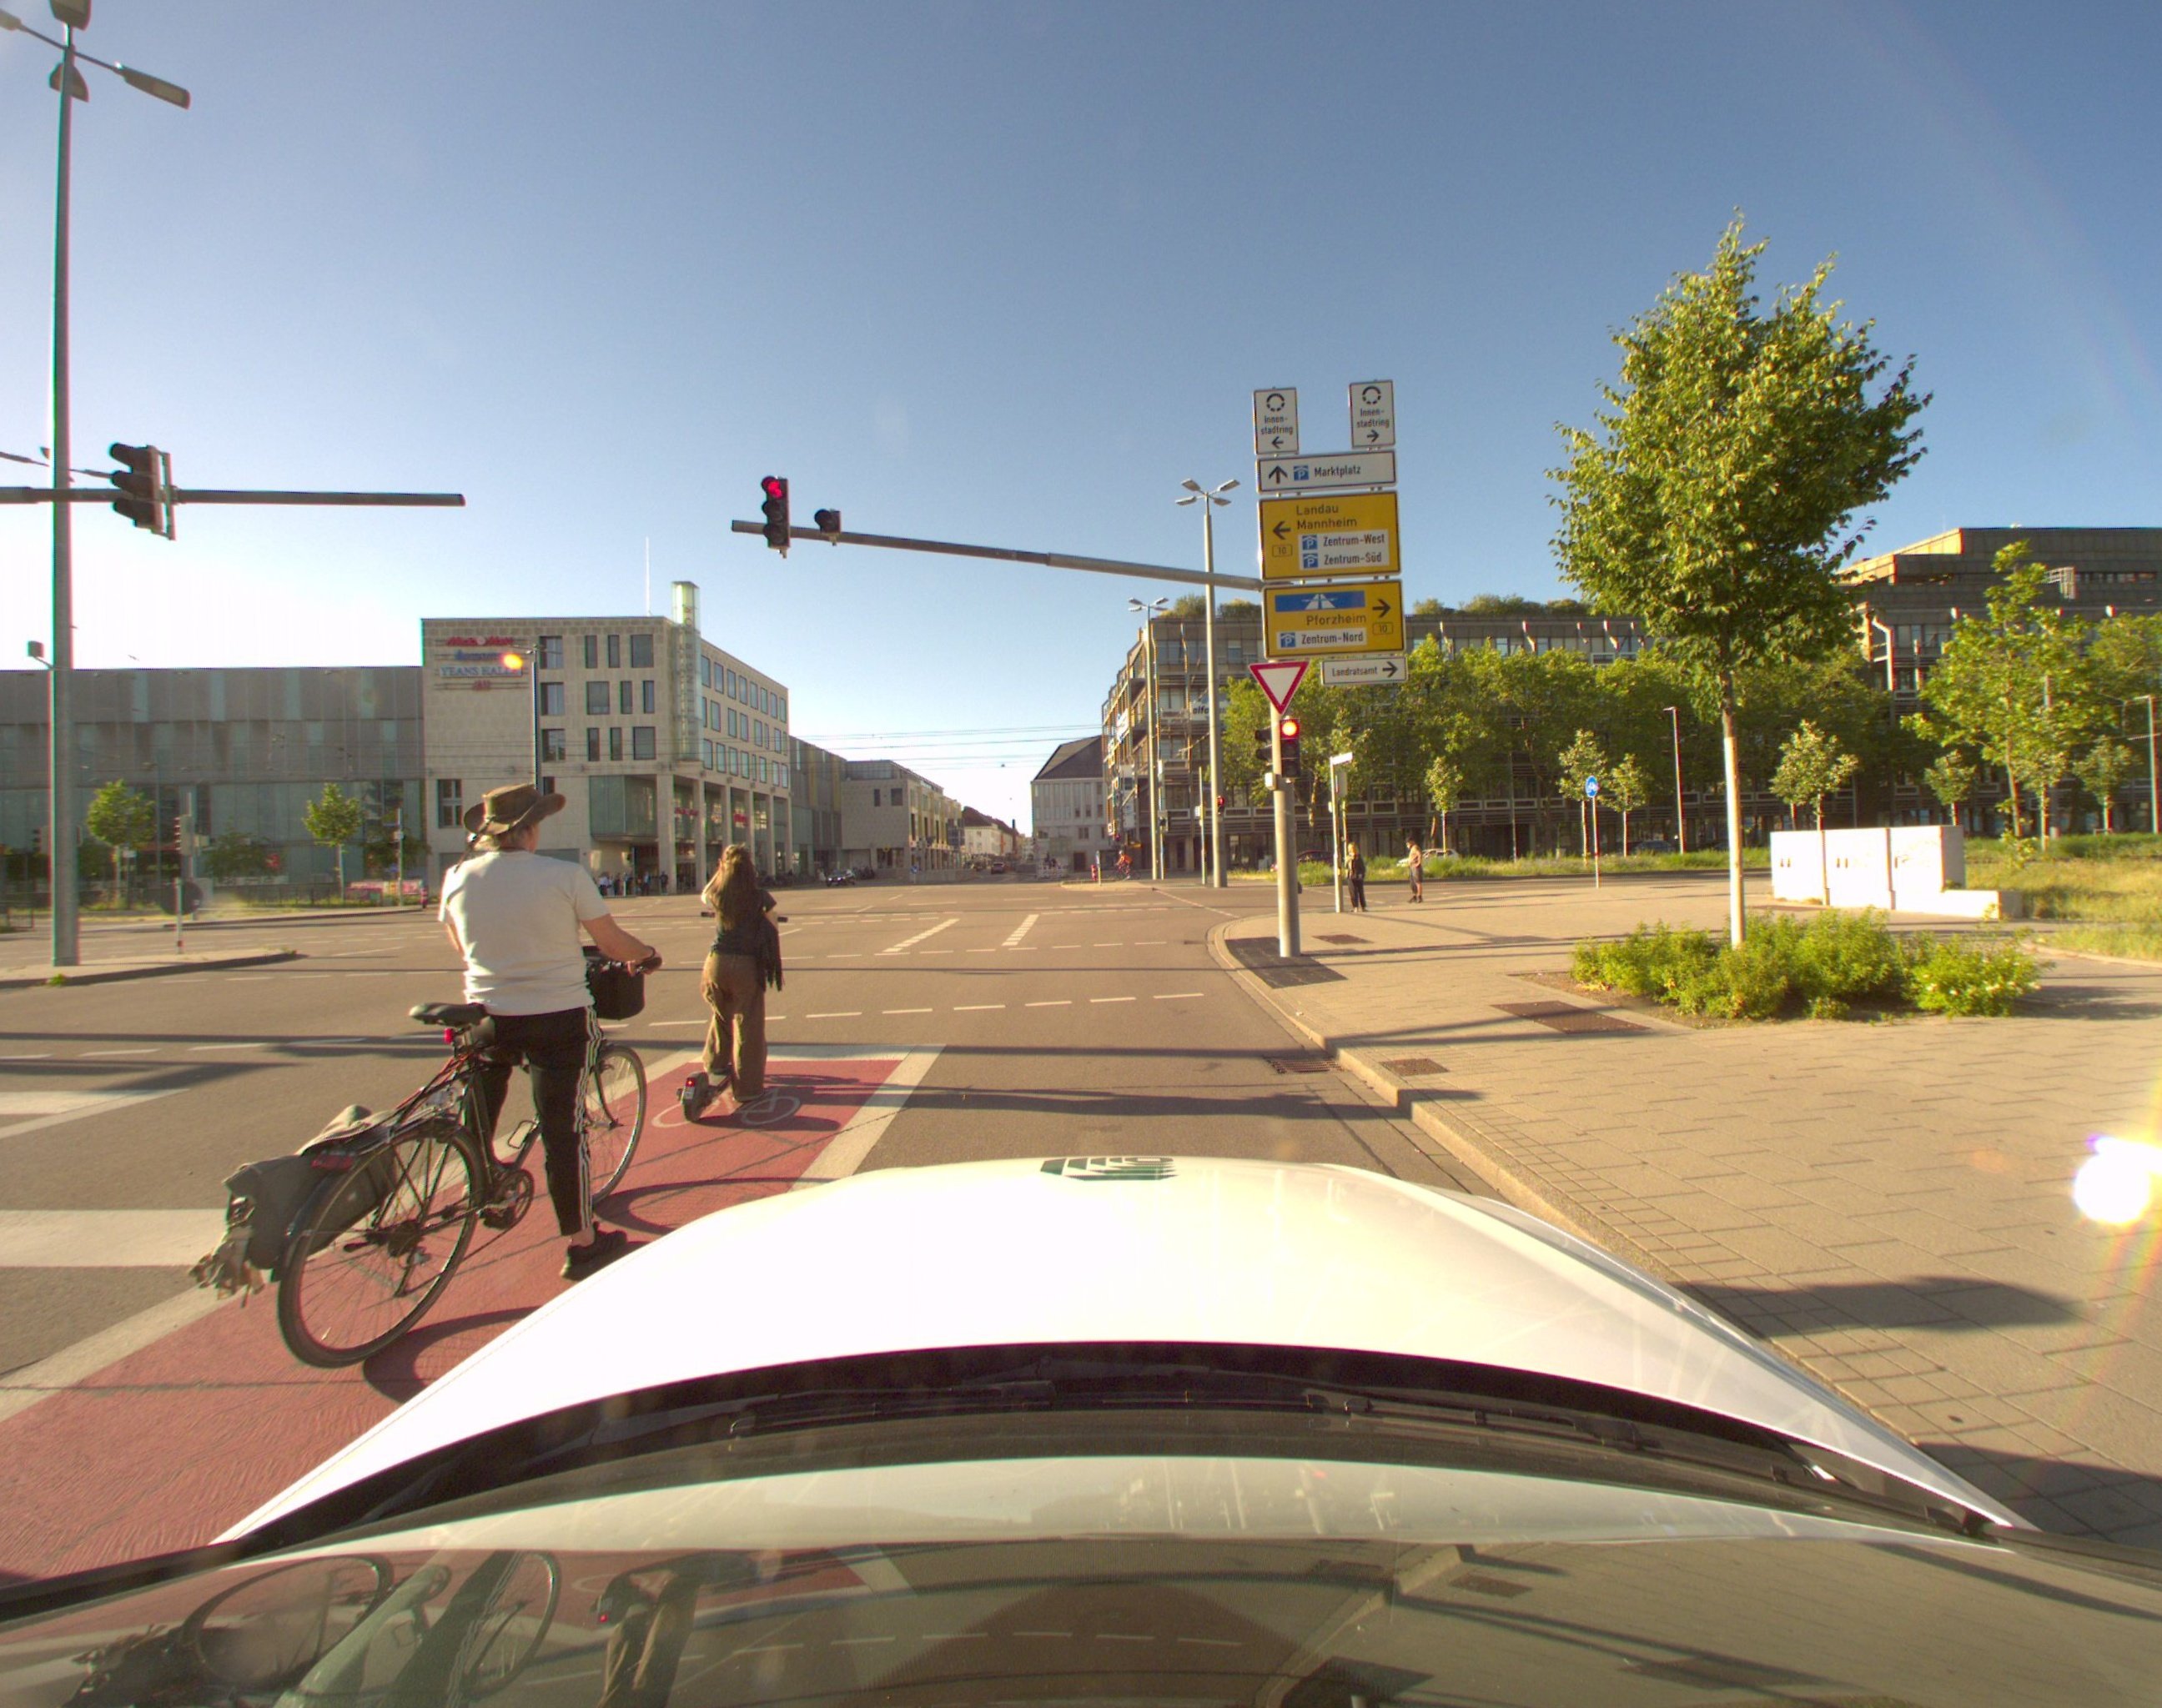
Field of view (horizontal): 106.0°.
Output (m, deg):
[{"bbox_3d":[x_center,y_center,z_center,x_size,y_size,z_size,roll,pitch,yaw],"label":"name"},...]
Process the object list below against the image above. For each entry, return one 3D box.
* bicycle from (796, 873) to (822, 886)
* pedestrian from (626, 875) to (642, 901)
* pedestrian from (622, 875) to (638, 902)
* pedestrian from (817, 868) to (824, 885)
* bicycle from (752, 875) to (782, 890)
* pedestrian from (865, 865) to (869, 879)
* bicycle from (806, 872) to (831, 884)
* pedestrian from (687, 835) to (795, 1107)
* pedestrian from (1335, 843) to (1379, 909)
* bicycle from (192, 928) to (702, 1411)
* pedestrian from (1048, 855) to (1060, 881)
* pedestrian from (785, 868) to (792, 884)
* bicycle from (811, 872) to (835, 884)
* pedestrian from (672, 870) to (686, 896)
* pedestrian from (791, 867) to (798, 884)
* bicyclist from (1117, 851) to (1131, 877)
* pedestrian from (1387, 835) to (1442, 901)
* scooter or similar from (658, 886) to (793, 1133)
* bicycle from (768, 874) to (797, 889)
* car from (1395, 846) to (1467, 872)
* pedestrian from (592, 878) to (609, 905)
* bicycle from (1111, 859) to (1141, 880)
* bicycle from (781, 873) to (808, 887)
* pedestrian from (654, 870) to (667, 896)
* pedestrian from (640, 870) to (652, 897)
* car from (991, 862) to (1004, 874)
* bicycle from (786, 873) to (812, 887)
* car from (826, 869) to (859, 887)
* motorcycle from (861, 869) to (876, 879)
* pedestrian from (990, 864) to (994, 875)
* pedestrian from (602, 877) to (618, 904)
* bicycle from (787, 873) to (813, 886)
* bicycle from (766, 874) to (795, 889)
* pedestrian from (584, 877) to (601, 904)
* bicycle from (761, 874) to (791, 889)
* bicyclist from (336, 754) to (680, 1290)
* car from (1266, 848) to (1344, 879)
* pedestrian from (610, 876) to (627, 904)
[{"bbox_3d":[-27.186,2.509,81.344,2.299,1.222,0.612,-2,-1,-1],"label":"bicycle"},{"bbox_3d":[-32.515,2.466,59.245,0.783,1.885,0.716,0,-1,-4],"label":"pedestrian"},{"bbox_3d":[-31.949,2.449,57.693,0.783,1.885,0.716,0,-1,-4],"label":"pedestrian"},{"bbox_3d":[-26.091,2.273,81.572,0.650,1.719,0.447,-2,0,-22],"label":"pedestrian"},{"bbox_3d":[-26.736,2.406,69.375,2.299,1.222,0.612,-2,-1,-1],"label":"bicycle"},{"bbox_3d":[-26.102,2.191,99.357,0.521,1.679,0.580,0,0,-12],"label":"pedestrian"},{"bbox_3d":[-27.589,2.547,85.583,2.299,1.222,0.612,-2,-1,-1],"label":"bicycle"},{"bbox_3d":[-2.168,0.705,5.243,0.549,1.633,0.569,0,-1,-13],"label":"pedestrian"},{"bbox_3d":[6.305,0.500,18.654,0.785,1.492,0.644,0,-1,1],"label":"pedestrian"},{"bbox_3d":[-2.154,0.943,3.138,0.483,1.156,1.832,0,-1,2],"label":"bicycle"},{"bbox_3d":[-1.990,1.053,60.520,0.637,1.890,0.794,-1,-1,16],"label":"pedestrian"},{"bbox_3d":[-29.642,2.236,82.587,0.570,1.679,0.614,0,0,-8],"label":"pedestrian"},{"bbox_3d":[-27.424,2.554,86.648,2.299,1.222,0.612,-2,-1,-1],"label":"bicycle"},{"bbox_3d":[-29.108,2.064,58.941,0.801,1.843,0.855,-2,0,-30],"label":"pedestrian"},{"bbox_3d":[-29.100,2.214,82.738,0.553,1.679,0.606,0,0,-8],"label":"pedestrian"},{"bbox_3d":[2.440,0.558,45.975,0.710,1.437,0.496,0,-1,-7],"label":"bicyclist"},{"bbox_3d":[8.609,0.362,21.047,0.881,1.665,0.958,0,-1,-19],"label":"pedestrian"},{"bbox_3d":[-2.162,0.870,5.074,0.547,1.294,1.188,0,-1,-13],"label":"scooter or similar"},{"bbox_3d":[-26.742,2.435,72.897,2.299,1.222,0.612,-2,-1,-1],"label":"bicycle"},{"bbox_3d":[22.156,0.340,51.667,3.892,1.585,1.656,0,-1,-5],"label":"car"},{"bbox_3d":[-33.871,2.611,57.375,0.783,1.885,0.716,0,-1,-4],"label":"pedestrian"},{"bbox_3d":[2.553,0.861,45.988,1.643,1.154,0.496,0,-1,-8],"label":"bicycle"},{"bbox_3d":[-26.698,2.460,75.965,2.299,1.222,0.612,-2,-1,-1],"label":"bicycle"},{"bbox_3d":[-30.795,2.117,59.667,0.800,1.843,0.856,-2,0,-26],"label":"pedestrian"},{"bbox_3d":[-31.105,2.102,58.183,0.718,1.885,0.781,0,-1,-25],"label":"pedestrian"},{"bbox_3d":[-11.137,1.858,108.656,1.735,1.531,3.848,0,-1,-5],"label":"car"},{"bbox_3d":[-27.064,2.481,78.133,2.299,1.222,0.612,-2,-1,-1],"label":"bicycle"},{"bbox_3d":[-20.626,2.050,70.508,1.625,1.342,3.999,-4,-1,0],"label":"car"},{"bbox_3d":[-25.782,2.430,98.740,1.807,1.206,0.509,0,0,-14],"label":"motorcycle"},{"bbox_3d":[-12.830,2.240,117.630,0.520,1.679,0.582,0,0,-5],"label":"pedestrian"},{"bbox_3d":[-33.966,2.623,58.724,0.714,1.885,0.786,0,-1,-6],"label":"pedestrian"},{"bbox_3d":[-27.630,2.502,80.127,2.299,1.222,0.612,-2,-1,-1],"label":"bicycle"},{"bbox_3d":[-26.567,2.427,72.012,2.299,1.222,0.612,-2,-1,-1],"label":"bicycle"},{"bbox_3d":[-35.030,2.595,58.367,0.783,1.885,0.716,0,-1,-4],"label":"pedestrian"},{"bbox_3d":[-26.464,2.415,70.653,2.299,1.222,0.612,-2,-1,-1],"label":"bicycle"},{"bbox_3d":[-2.061,0.543,3.061,0.658,1.720,0.866,0,-1,1],"label":"bicyclist"},{"bbox_3d":[12.618,0.554,45.932,3.880,1.585,1.656,-2,-1,-6],"label":"car"},{"bbox_3d":[-34.040,2.628,59.923,0.883,2.014,0.771,0,-1,-9],"label":"pedestrian"}]
